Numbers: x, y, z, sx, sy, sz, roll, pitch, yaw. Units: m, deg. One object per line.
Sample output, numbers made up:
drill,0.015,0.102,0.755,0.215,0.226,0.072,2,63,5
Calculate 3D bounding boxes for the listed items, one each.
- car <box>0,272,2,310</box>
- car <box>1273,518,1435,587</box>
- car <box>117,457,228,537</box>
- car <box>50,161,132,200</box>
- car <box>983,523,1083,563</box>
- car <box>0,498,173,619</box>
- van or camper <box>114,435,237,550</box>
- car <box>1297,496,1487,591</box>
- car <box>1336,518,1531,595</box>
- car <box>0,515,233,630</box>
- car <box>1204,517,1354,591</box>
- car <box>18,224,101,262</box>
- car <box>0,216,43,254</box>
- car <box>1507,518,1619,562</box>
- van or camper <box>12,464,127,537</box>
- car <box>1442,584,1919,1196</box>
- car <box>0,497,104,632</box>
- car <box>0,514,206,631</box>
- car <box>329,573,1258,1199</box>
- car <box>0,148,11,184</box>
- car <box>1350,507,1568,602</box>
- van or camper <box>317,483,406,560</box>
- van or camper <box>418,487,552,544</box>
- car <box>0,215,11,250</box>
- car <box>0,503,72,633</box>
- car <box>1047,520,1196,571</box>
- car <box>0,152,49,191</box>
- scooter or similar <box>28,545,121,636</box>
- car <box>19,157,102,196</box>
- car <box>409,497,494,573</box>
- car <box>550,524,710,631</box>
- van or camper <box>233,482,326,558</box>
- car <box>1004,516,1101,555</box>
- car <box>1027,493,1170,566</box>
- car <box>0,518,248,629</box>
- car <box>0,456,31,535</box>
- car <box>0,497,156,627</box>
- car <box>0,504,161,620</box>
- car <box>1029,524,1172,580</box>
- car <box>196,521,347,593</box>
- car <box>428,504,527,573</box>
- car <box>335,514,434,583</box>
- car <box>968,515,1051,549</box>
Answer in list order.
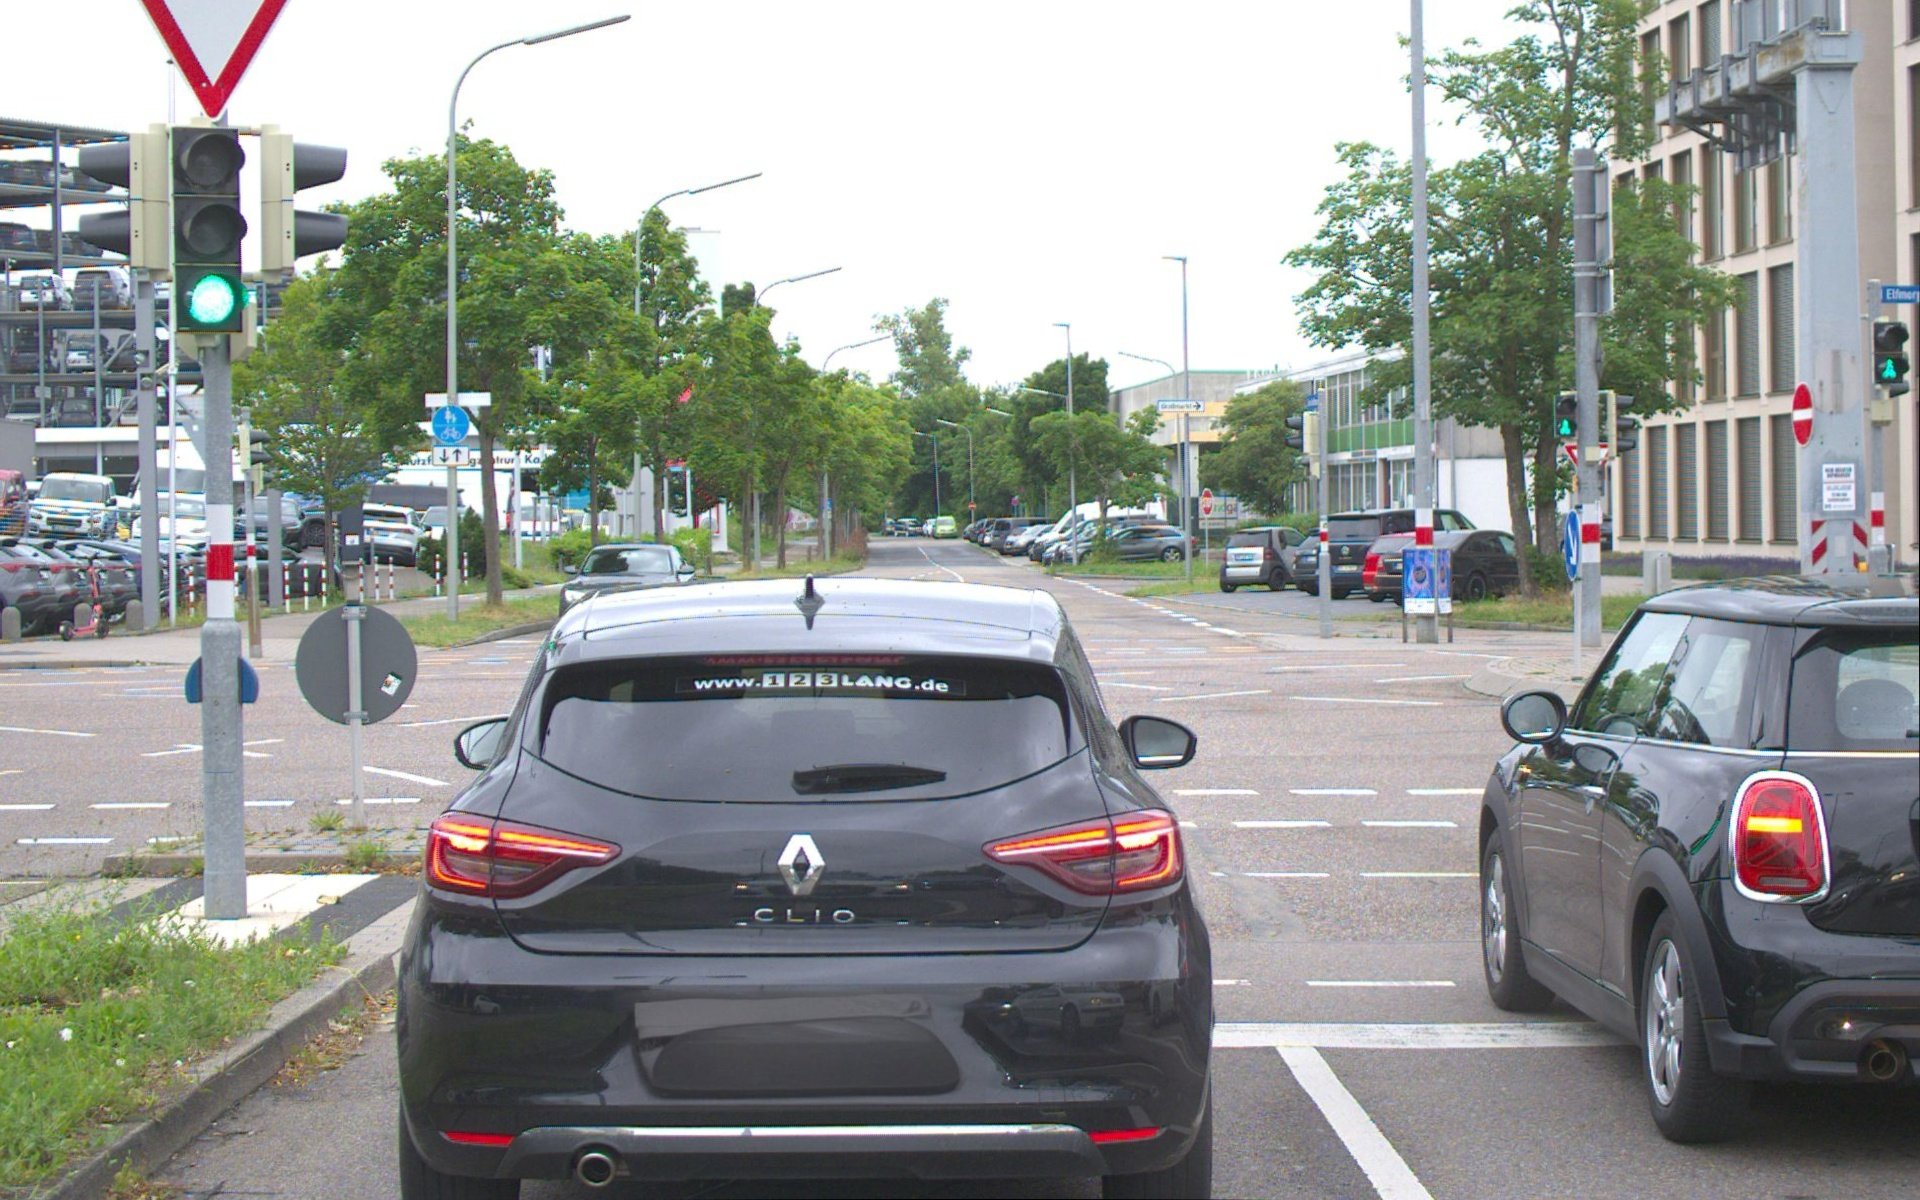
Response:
car,-51.431,-15.672,174.588,5.322,1.938,2.207,1,1,28
car,8.899,-1.070,77.459,1.696,1.506,3.808,0,1,43
car,-19.043,-2.475,83.270,1.993,1.817,4.001,1,0,-4
car,-45.891,-22.141,181.468,3.994,1.661,1.996,1,1,32
car,3.849,-3.026,181.984,5.173,2.007,2.144,1,0,-1
car,-16.675,-0.693,61.501,4.772,2.007,2.000,-3,1,-6
van or camper,-21.514,-2.906,94.503,2.535,3.016,4.844,1,0,-4
car,9.327,-1.205,74.054,1.998,1.959,4.235,0,0,41
car,9.782,-0.895,70.856,1.887,1.546,4.123,0,1,45
car,-16.781,-0.522,66.830,4.892,2.007,2.000,-3,1,-5
car,7.789,-1.110,83.772,3.424,1.726,1.765,1,0,-42
car,-46.970,-18.621,179.385,3.994,1.661,1.996,1,1,32
car,-49.105,-18.675,176.034,3.994,1.661,1.996,1,1,32
car,19.402,-1.927,110.674,3.229,1.328,1.486,1,0,-19
van or camper,-21.510,-2.387,83.146,1.993,1.645,4.001,1,0,-4
car,2.534,0.673,9.801,1.786,1.411,3.643,1,0,0
car,-15.892,-0.477,53.374,4.700,2.007,2.000,-3,1,-4
car,-16.769,-0.477,64.321,4.892,2.007,2.000,-3,1,-5
car,-0.340,0.663,8.558,1.757,1.430,4.000,1,0,-1
car,-50.222,-21.944,174.064,3.994,1.661,1.996,1,1,32
car,9.661,-0.879,66.468,4.121,1.762,1.888,-1,1,-40
van or camper,-16.469,-2.140,94.689,1.993,2.007,4.001,1,0,-4
van or camper,-20.668,-3.667,149.765,5.598,2.363,2.000,1,0,-1
car,-50.201,-18.598,174.078,3.994,1.661,1.996,1,1,32
car,-15.760,-0.382,50.805,4.771,1.856,2.000,-3,1,-5
car,5.772,-1.943,123.322,5.173,1.714,2.144,1,0,-2
car,-48.830,-21.934,176.173,3.994,1.661,1.996,1,1,32
scooter or similar,-12.333,-0.144,47.907,0.557,1.214,1.559,2,2,13
car,-46.989,-22.096,179.525,3.994,1.661,1.996,1,1,32
car,-14.014,-1.778,94.897,1.993,2.007,4.001,1,0,-4
car,-5.038,-0.377,53.102,1.978,1.546,4.614,-1,1,0
van or camper,-18.668,-2.169,94.498,1.993,2.007,4.001,1,0,-4
car,4.699,-3.272,175.384,4.785,1.885,2.144,1,0,-2
car,6.074,-3.083,151.396,6.116,3.106,2.134,1,0,-1
car,-17.108,-0.538,69.865,4.892,2.007,2.000,-3,1,-5
car,-23.965,-2.538,83.384,1.993,1.842,4.001,1,0,-4
car,-15.946,-0.557,56.381,5.022,2.007,2.266,-3,1,-5
car,-16.396,-0.590,59.010,4.945,1.870,2.054,-3,0,-6
car,5.244,-1.782,128.796,5.173,2.007,2.144,1,0,-2
car,-19.749,-1.233,98.745,3.986,2.007,2.000,1,0,-3
car,-11.793,-1.494,84.250,1.993,1.612,4.000,1,0,-2
car,-13.978,-1.232,83.688,1.993,1.612,4.001,1,0,-4
car,3.117,-4.318,218.680,5.173,2.007,2.144,1,0,-1
